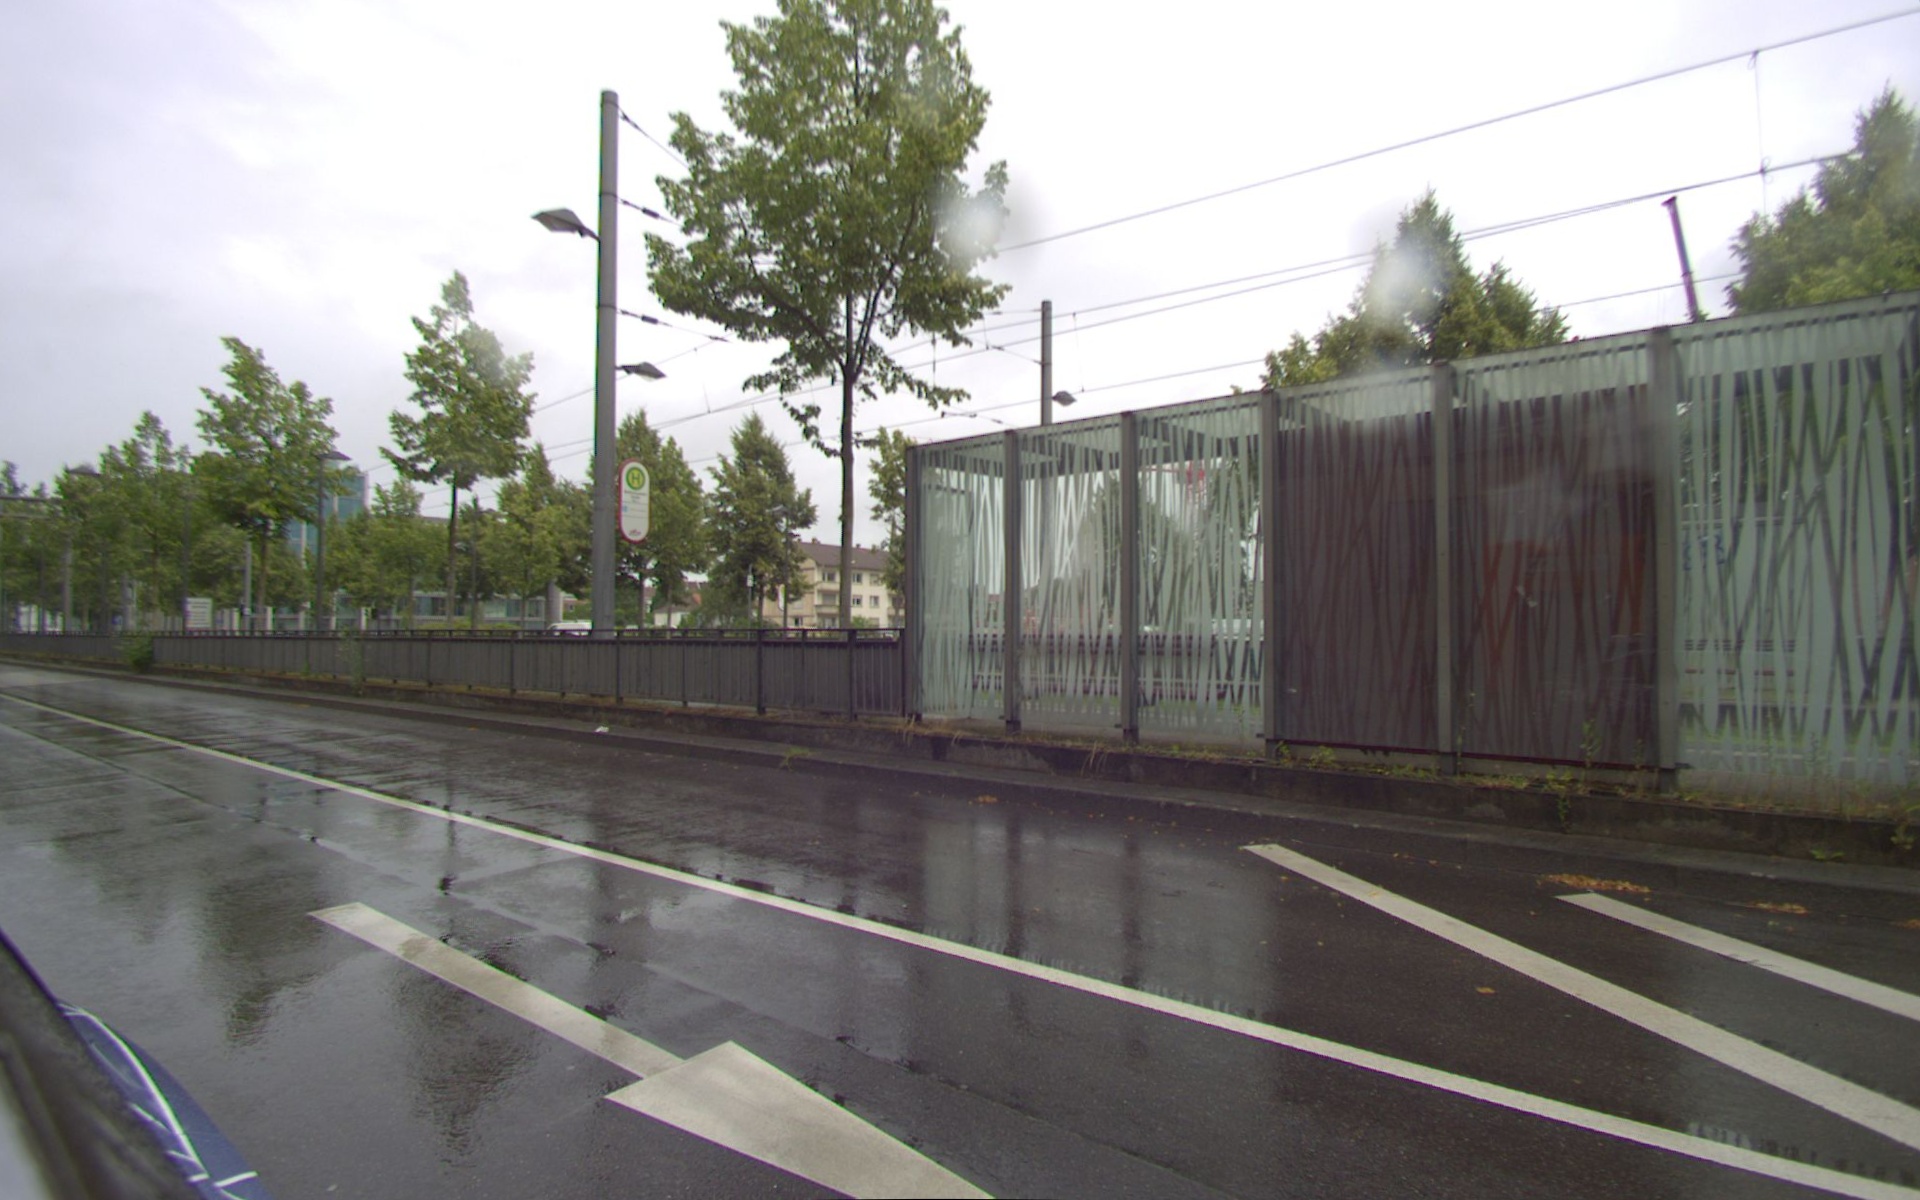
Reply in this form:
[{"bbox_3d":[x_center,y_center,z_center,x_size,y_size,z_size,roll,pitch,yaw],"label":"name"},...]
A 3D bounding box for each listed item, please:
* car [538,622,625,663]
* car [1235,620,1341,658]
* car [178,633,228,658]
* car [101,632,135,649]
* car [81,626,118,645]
[{"bbox_3d":[-17.563,1.915,46.861,3.994,1.759,1.975,-1,0,38],"label":"car"},{"bbox_3d":[22.886,2.667,70.749,6.734,2.480,1.976,-1,0,36],"label":"car"},{"bbox_3d":[-56.748,3.397,75.841,3.994,1.759,1.975,-1,0,38],"label":"car"},{"bbox_3d":[-88.944,4.256,106.894,3.994,1.759,1.975,-1,0,38],"label":"car"},{"bbox_3d":[-84.597,3.452,99.440,3.994,1.759,1.975,-1,0,38],"label":"car"}]
